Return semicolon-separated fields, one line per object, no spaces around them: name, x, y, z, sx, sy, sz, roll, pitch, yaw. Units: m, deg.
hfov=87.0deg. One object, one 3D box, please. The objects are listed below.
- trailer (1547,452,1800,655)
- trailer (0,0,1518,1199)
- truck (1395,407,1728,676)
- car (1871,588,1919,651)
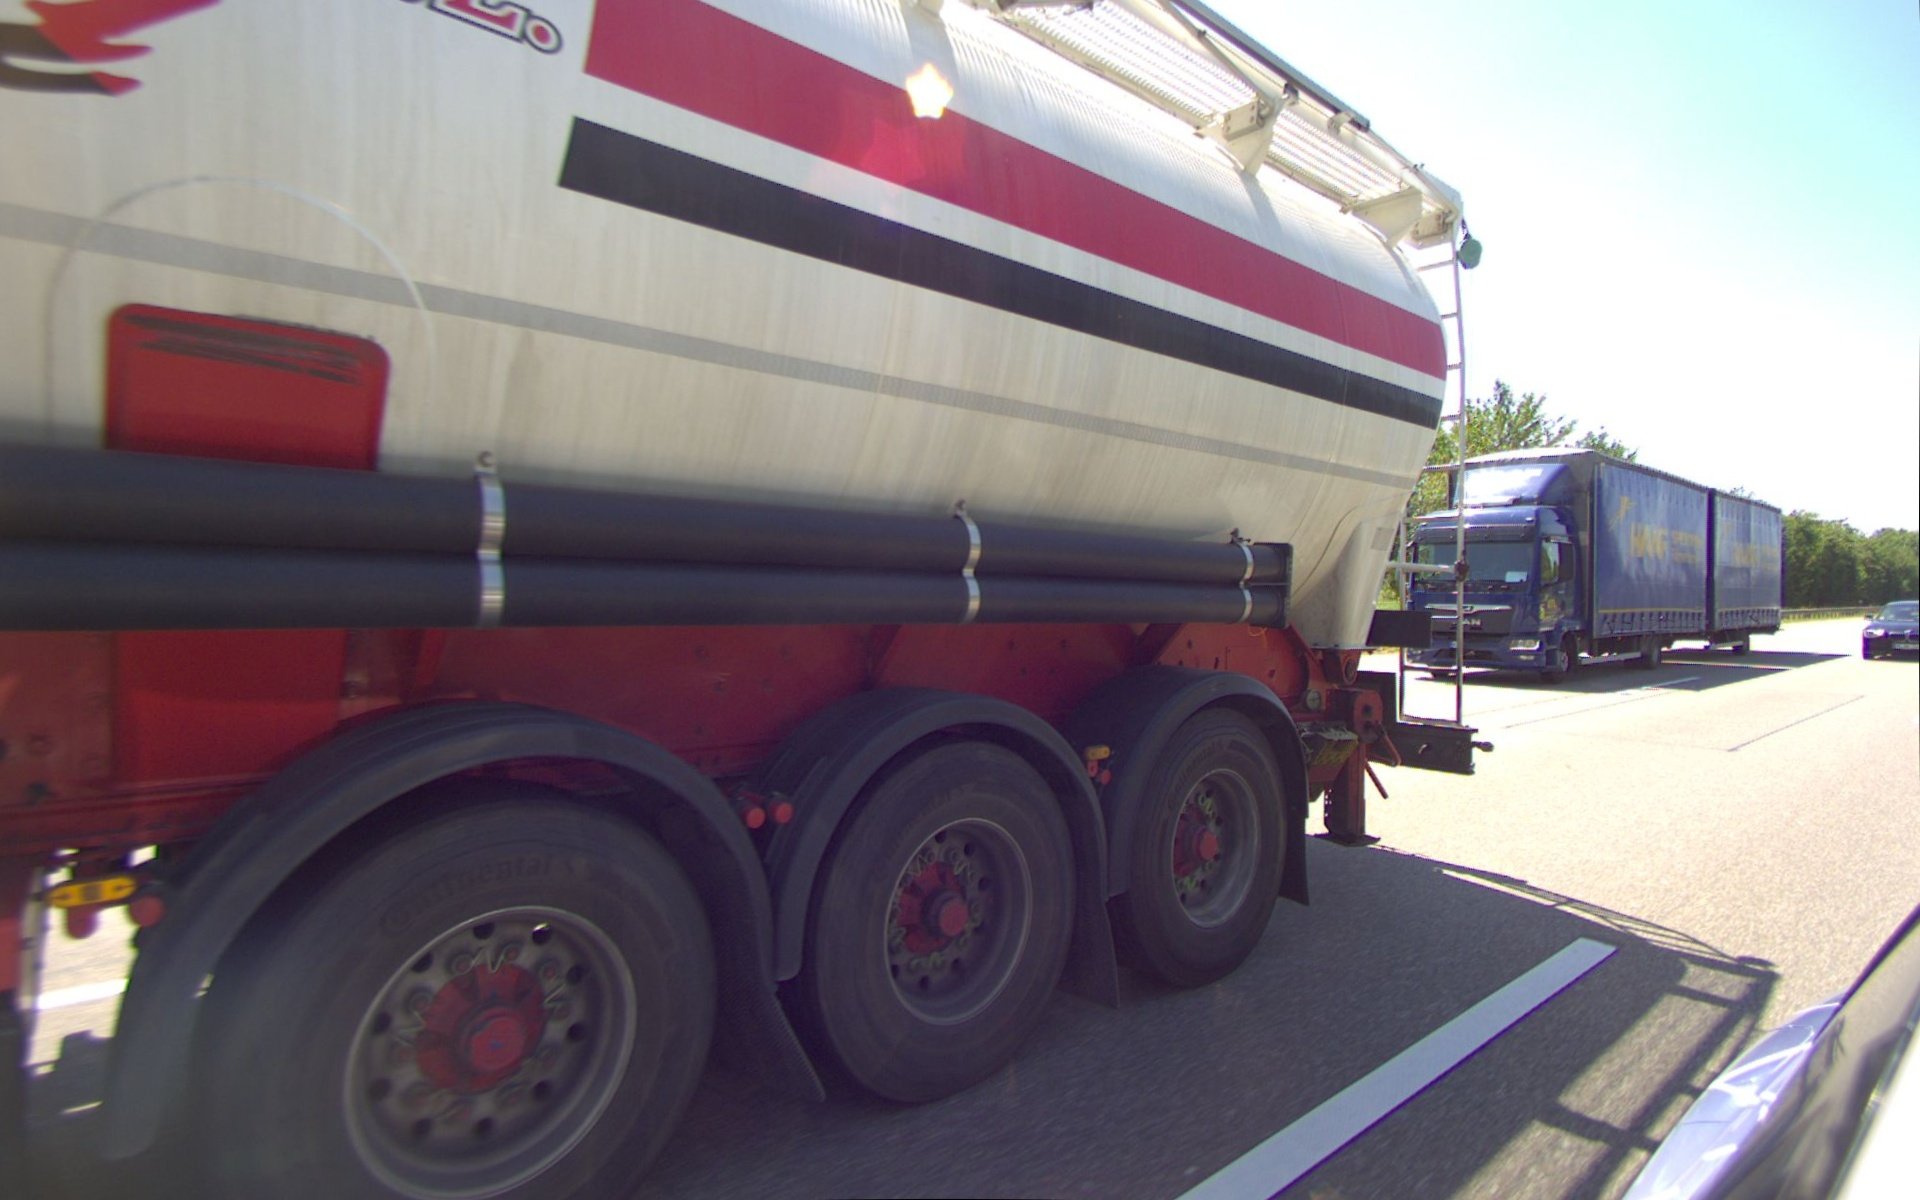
trailer;18.472;-1.036;25.770;10.619;4.257;2.795;0;1;-41
trailer;-2.528;-0.843;2.486;12.137;4.257;2.795;0;1;-41
truck;12.678;-0.983;20.638;10.621;4.257;2.794;0;1;-42
car;24.083;0.454;25.031;4.420;1.435;1.839;0;1;-42
